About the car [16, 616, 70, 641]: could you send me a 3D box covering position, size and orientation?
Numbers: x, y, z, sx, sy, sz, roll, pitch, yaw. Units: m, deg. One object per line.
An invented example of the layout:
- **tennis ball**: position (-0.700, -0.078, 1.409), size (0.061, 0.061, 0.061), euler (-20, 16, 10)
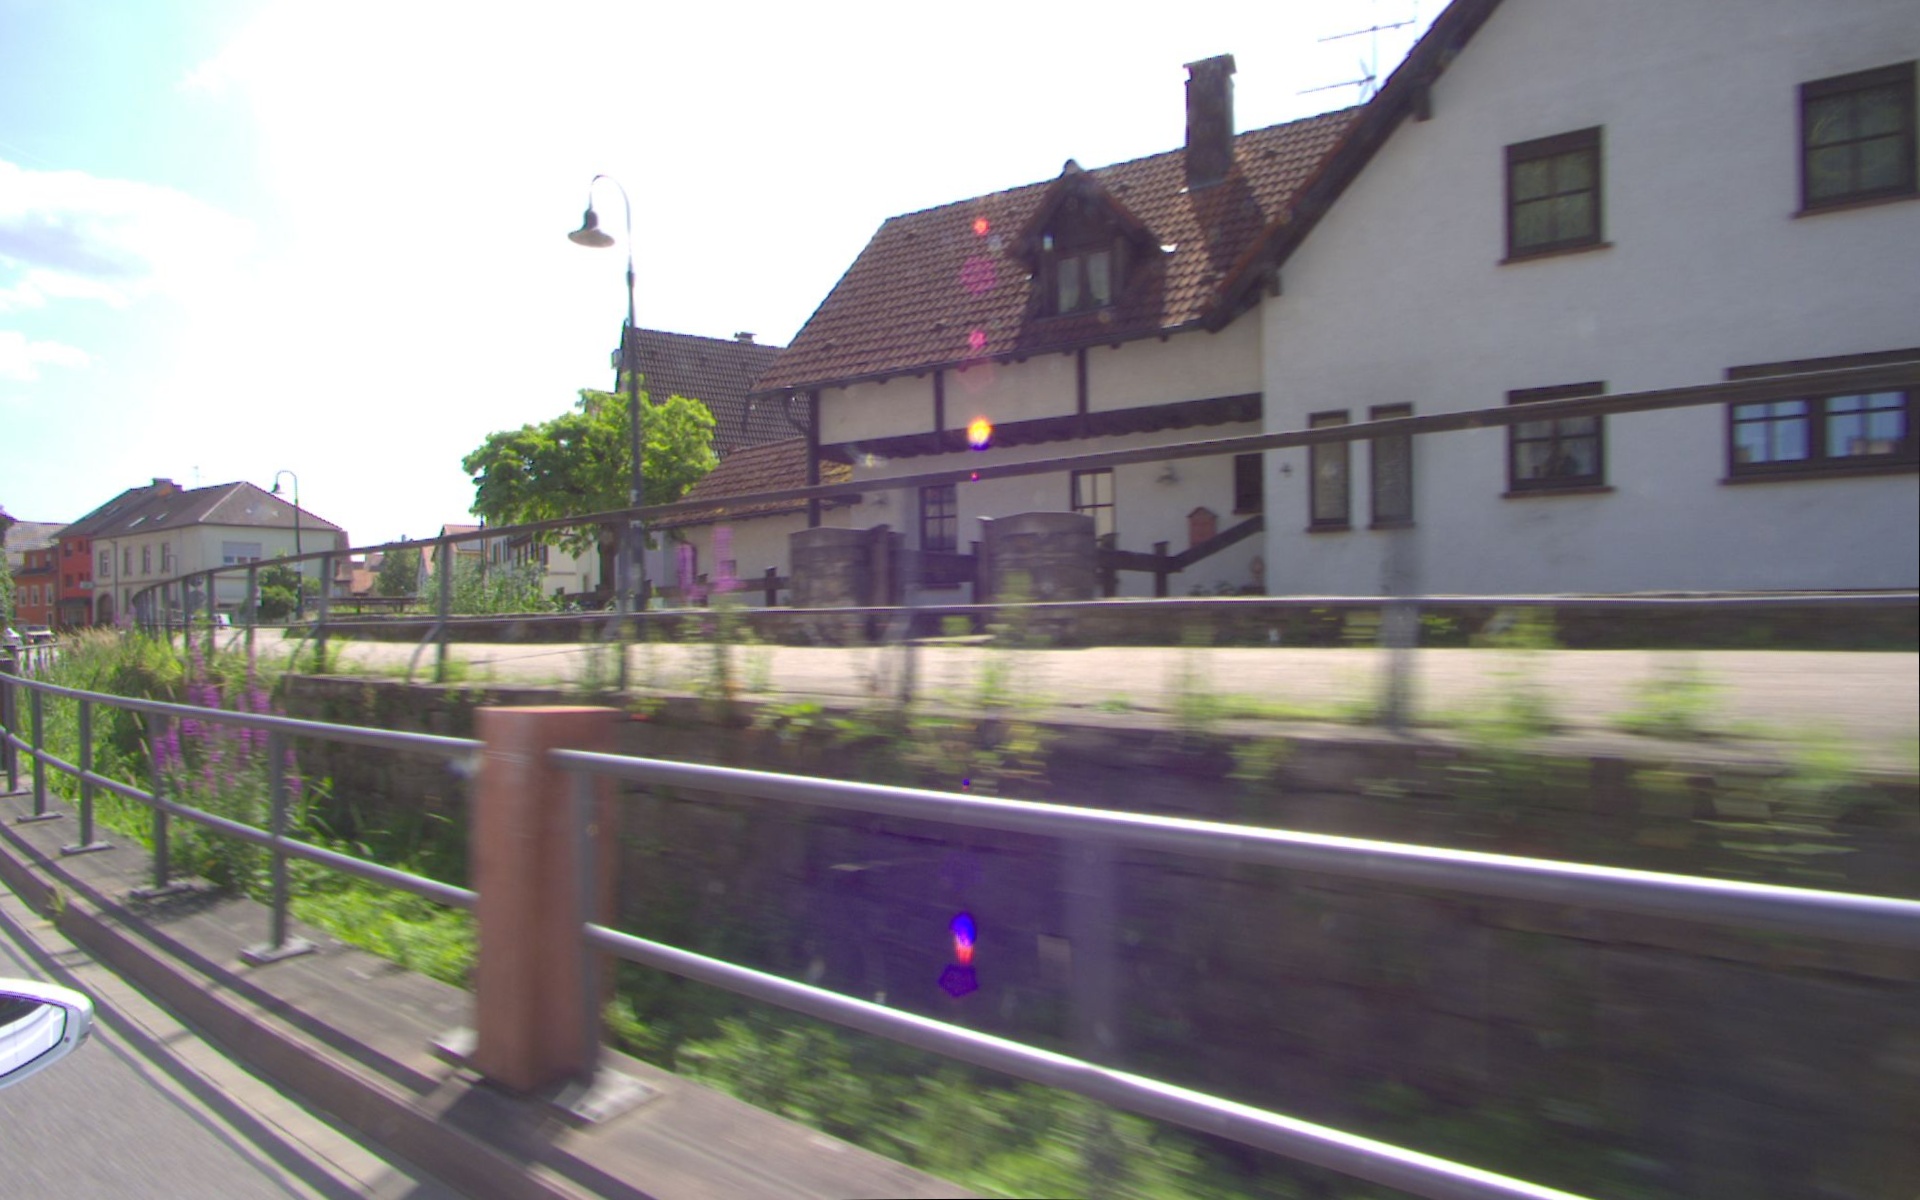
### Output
- **car**: position (-69.162, 2.158, 75.532), size (3.414, 1.742, 1.622), euler (-2, 1, 22)

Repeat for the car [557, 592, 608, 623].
- **car**: position (-18.024, 0.367, 47.763), size (1.649, 1.434, 3.059), euler (0, -1, -34)

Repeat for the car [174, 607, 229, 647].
- **car**: position (-40.634, 1.429, 53.717), size (1.876, 2.007, 3.097), euler (-3, 1, -30)
